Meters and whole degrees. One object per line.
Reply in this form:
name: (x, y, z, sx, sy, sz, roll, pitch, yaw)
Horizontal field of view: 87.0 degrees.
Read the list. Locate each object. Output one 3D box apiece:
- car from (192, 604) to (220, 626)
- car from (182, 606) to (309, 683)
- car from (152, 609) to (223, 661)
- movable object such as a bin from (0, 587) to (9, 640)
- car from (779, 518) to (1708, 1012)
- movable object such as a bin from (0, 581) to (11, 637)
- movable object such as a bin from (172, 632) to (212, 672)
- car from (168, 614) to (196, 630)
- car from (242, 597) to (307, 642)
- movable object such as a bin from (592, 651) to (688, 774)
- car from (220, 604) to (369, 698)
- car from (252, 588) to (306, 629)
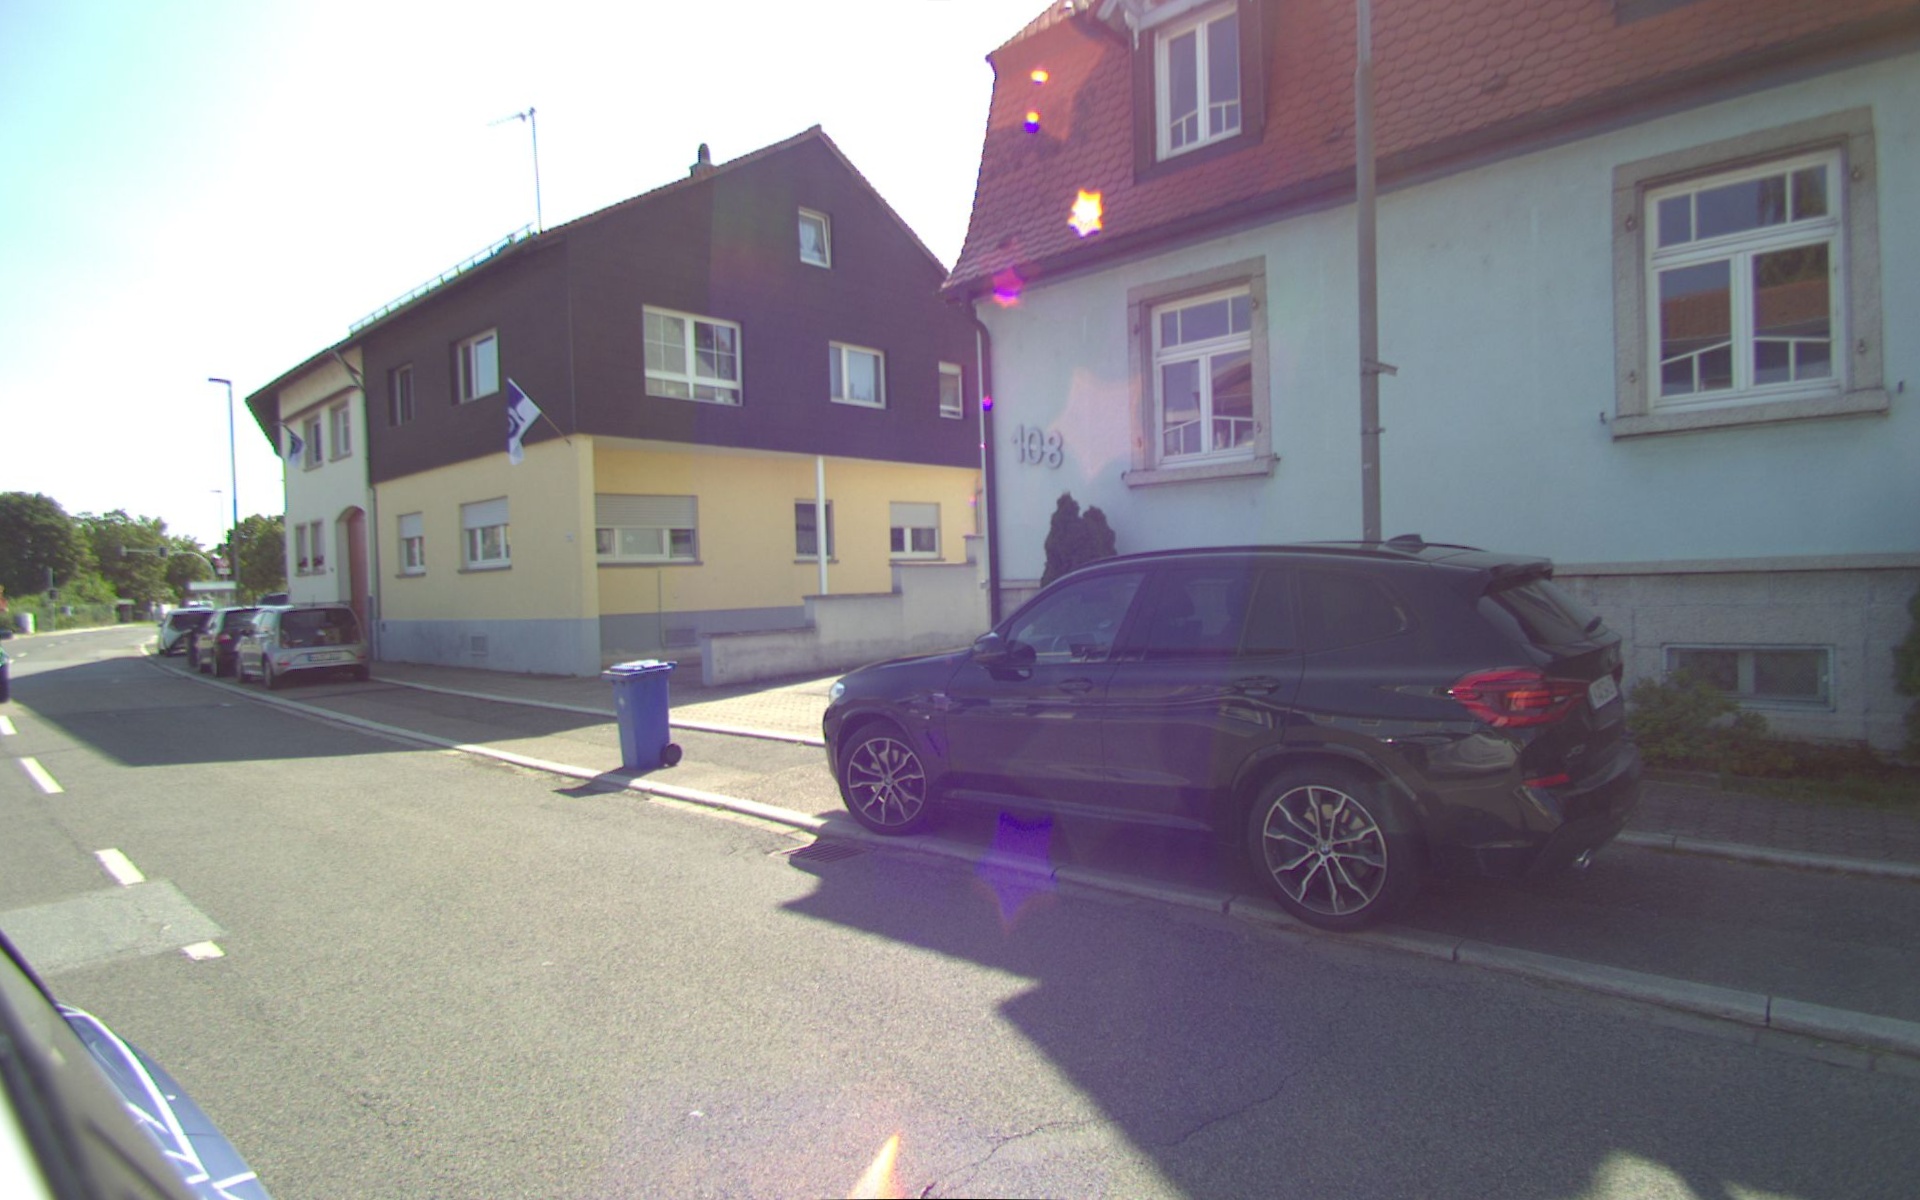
car: (-89.234, 1.705, 119.790, 1.907, 2.521, 5.856, -1, 0, -29)
car: (-16.197, 0.931, 22.867, 1.659, 1.447, 3.998, -6, 4, -44)
car: (-24.736, 1.079, 32.367, 1.663, 1.473, 3.656, -3, 2, -39)
movable object such as a bin: (-81.101, 1.224, 76.487, 13.080, 4.197, 2.869, -2, 0, -37)
car: (1.220, 0.535, 5.718, 4.664, 1.680, 1.900, -1, 3, 42)
movable object such as a bin: (-76.417, 0.866, 69.711, 15.842, 4.048, 2.780, -2, 0, -37)
movable object such as a bin: (-19.122, 1.288, 25.204, 0.825, 0.935, 0.546, -2, 4, 40)
car: (-83.952, 2.341, 109.269, 1.815, 1.604, 4.118, -1, 0, -29)
car: (-30.856, 0.845, 45.646, 1.811, 1.806, 4.356, -5, 2, -28)
movable object such as a bin: (-2.842, 0.978, 9.000, 0.531, 0.989, 0.590, -1, 2, 42)
car: (-12.815, 0.896, 19.398, 1.622, 1.512, 3.784, -5, 3, -44)
car: (-38.459, 0.450, 57.060, 2.099, 2.000, 5.277, -8, 5, -36)
